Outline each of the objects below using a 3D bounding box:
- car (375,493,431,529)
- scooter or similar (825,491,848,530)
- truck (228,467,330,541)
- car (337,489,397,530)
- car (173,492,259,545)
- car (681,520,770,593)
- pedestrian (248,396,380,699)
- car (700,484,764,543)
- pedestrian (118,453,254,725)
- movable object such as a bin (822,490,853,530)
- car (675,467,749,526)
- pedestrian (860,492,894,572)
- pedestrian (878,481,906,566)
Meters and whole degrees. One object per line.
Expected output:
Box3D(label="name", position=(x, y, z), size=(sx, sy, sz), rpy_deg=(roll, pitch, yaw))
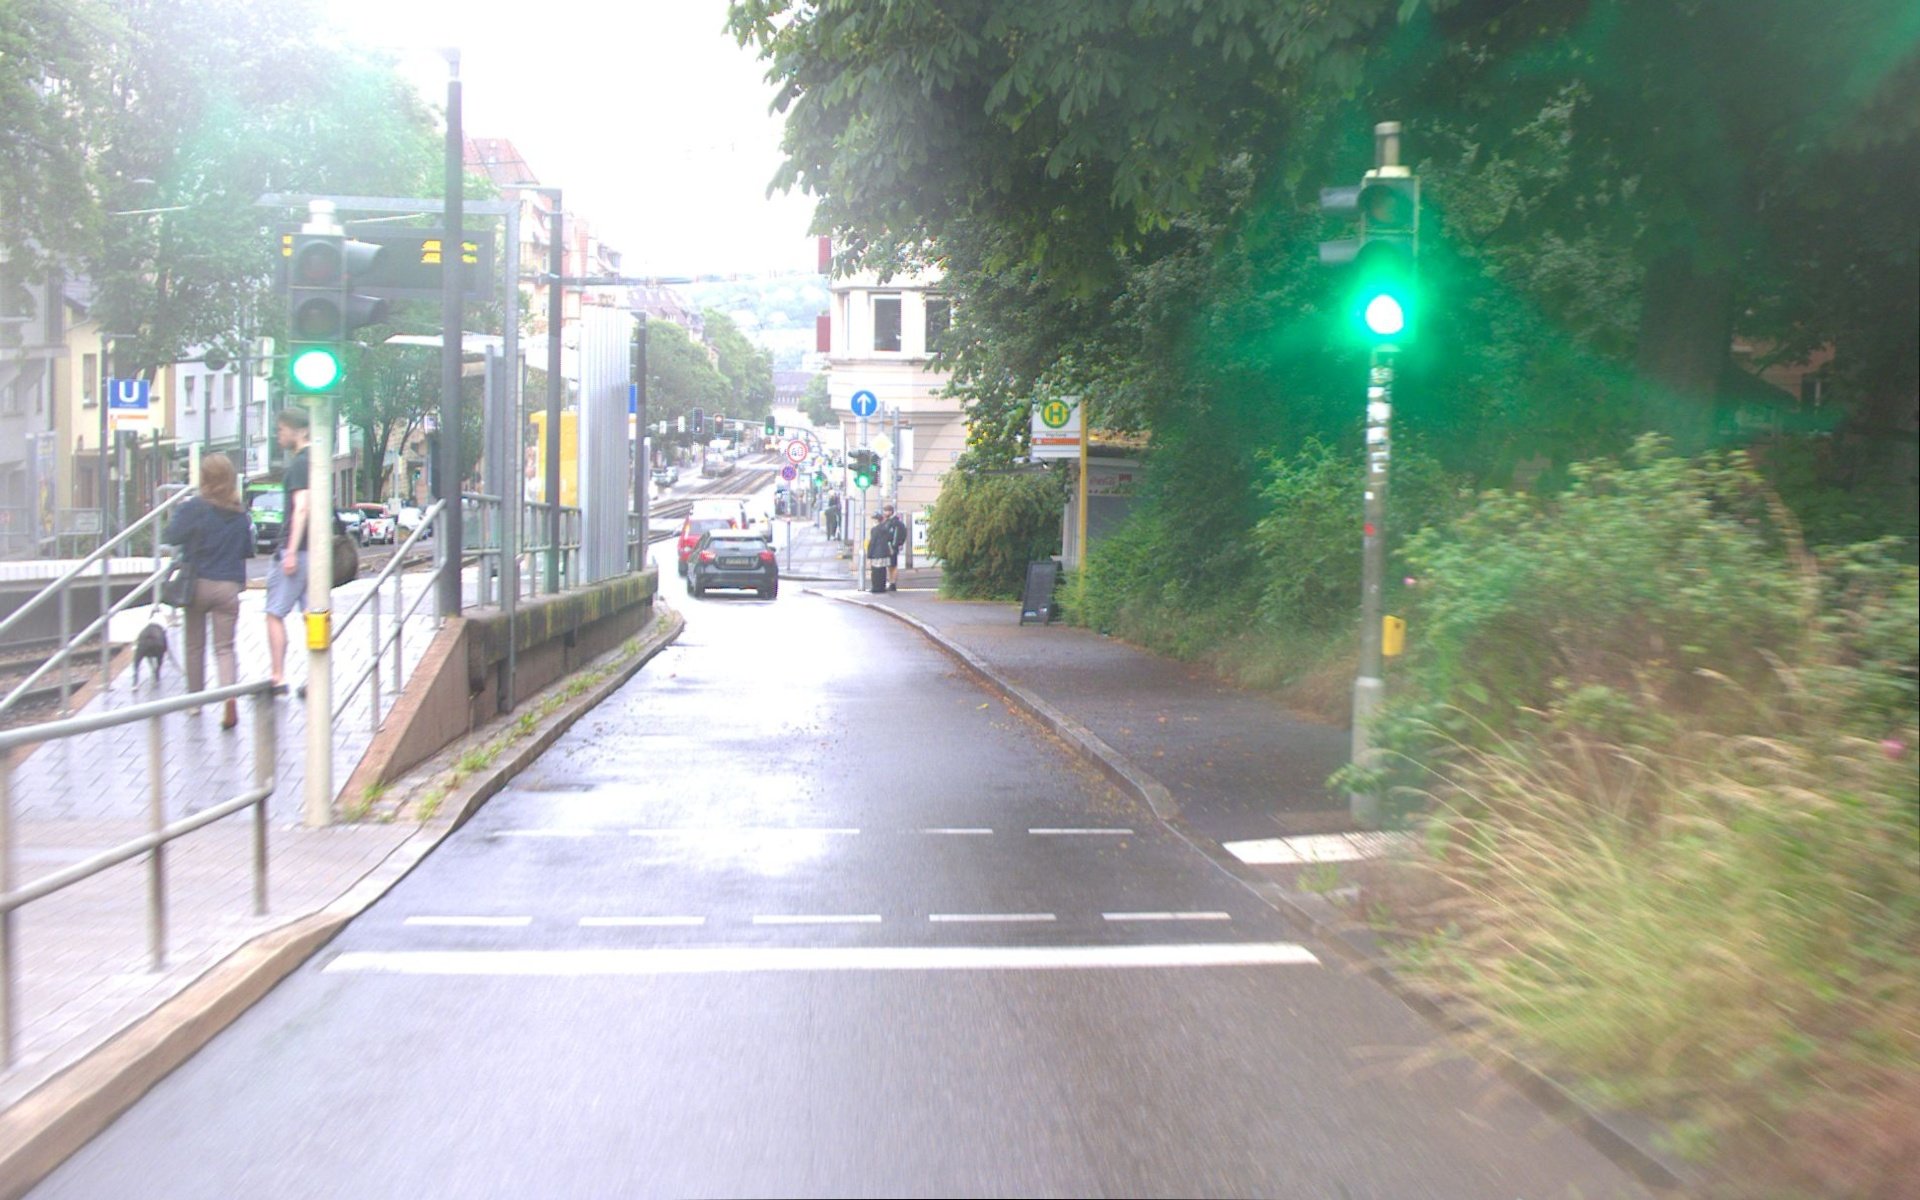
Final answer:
Box3D(label="car", position=(-23.863, -3.826, 147.373), size=(1.773, 1.483, 4.256), rpy_deg=(-2, 2, -2))
Box3D(label="scooter or similar", position=(-5.155, -3.746, 143.593), size=(0.918, 1.598, 0.863), rpy_deg=(0, 2, -6))
Box3D(label="truck", position=(-22.686, -3.207, 114.788), size=(2.051, 2.384, 6.321), rpy_deg=(0, 2, 1))
Box3D(label="car", position=(-23.420, -3.605, 135.943), size=(1.773, 1.541, 4.256), rpy_deg=(-2, 2, -3))
Box3D(label="car", position=(-22.613, -2.500, 104.639), size=(1.726, 1.510, 4.496), rpy_deg=(0, 2, -1))
Box3D(label="car", position=(-5.062, -0.969, 74.288), size=(1.851, 1.468, 4.001), rpy_deg=(0, 2, -4))
Box3D(label="pedestrian", position=(-3.957, -0.334, 21.120), size=(0.650, 1.777, 0.848), rpy_deg=(0, 7, -2))
Box3D(label="car", position=(-7.160, -2.702, 107.622), size=(1.948, 1.786, 4.145), rpy_deg=(0, 1, -4))
Box3D(label="pedestrian", position=(-4.599, -0.077, 20.474), size=(0.650, 1.556, 0.684), rpy_deg=(0, 6, -2))
Box3D(label="movable object such as a bin", position=(-5.163, -3.807, 145.102), size=(1.167, 1.649, 1.310), rpy_deg=(-2, 2, -6))
Box3D(label="car", position=(-6.421, -2.663, 89.039), size=(1.851, 1.468, 4.001), rpy_deg=(0, 1, -4))
Box3D(label="pedestrian", position=(-1.770, -1.444, 73.243), size=(0.695, 1.689, 0.556), rpy_deg=(0, 1, -3))
Box3D(label="pedestrian", position=(-1.470, -1.646, 73.879), size=(0.553, 1.807, 0.651), rpy_deg=(0, 1, -5))
